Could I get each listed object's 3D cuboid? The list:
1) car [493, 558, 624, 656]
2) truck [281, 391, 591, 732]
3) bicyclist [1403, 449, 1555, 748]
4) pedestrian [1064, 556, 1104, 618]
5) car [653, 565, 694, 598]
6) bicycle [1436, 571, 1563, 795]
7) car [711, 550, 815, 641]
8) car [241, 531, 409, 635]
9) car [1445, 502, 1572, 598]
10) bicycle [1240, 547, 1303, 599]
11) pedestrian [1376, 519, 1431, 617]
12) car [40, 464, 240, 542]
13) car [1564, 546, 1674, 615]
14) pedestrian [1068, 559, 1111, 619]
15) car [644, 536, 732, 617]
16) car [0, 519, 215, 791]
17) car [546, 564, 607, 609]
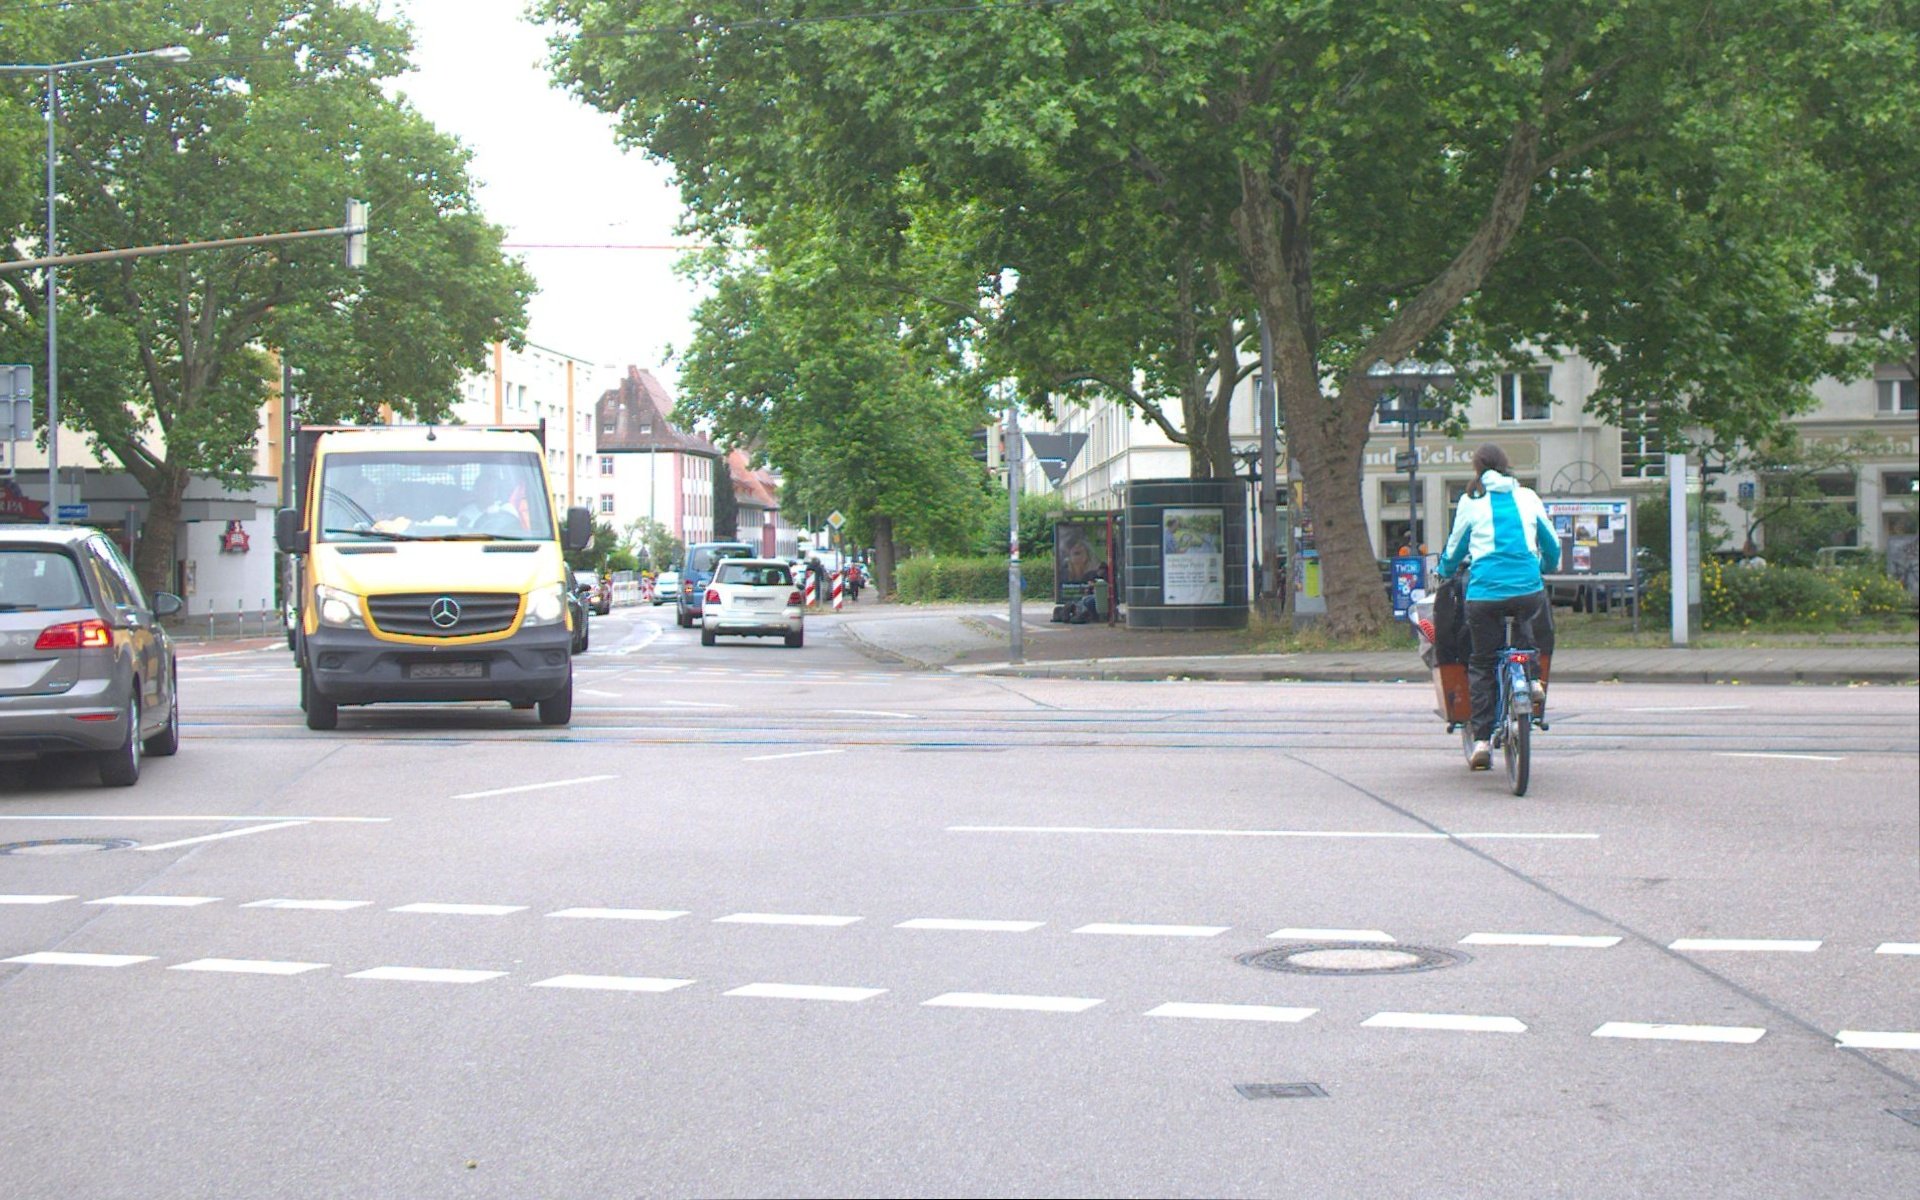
[{"bbox_3d":[-6.183,0.074,53.280,1.808,1.422,4.318,-1,1,-4],"label":"car"},{"bbox_3d":[-4.282,-0.329,27.362,2.074,2.400,5.464,-2,1,-12],"label":"truck"},{"bbox_3d":[2.707,-0.014,18.009,0.686,1.512,1.058,-1,1,4],"label":"bicyclist"},{"bbox_3d":[2.770,-0.304,76.841,0.817,1.367,0.763,-1,1,-4],"label":"pedestrian"},{"bbox_3d":[-13.298,-0.883,159.783,1.767,1.481,4.001,-1,1,-3],"label":"car"},{"bbox_3d":[2.849,0.406,18.285,0.494,1.094,2.138,-1,1,5],"label":"bicycle"},{"bbox_3d":[-3.643,-0.107,63.288,1.815,1.586,4.001,-1,1,-4],"label":"car"},{"bbox_3d":[-11.694,-0.357,63.652,1.867,1.820,5.225,-1,1,3],"label":"car"},{"bbox_3d":[12.948,-1.174,80.968,2.176,2.193,3.996,-1,1,21],"label":"car"},{"bbox_3d":[7.096,-0.619,78.265,0.779,1.164,2.330,-1,1,22],"label":"bicycle"},{"bbox_3d":[8.029,-0.580,62.295,0.784,1.738,0.925,-1,1,-5],"label":"pedestrian"},{"bbox_3d":[-18.624,-2.172,78.149,3.987,1.700,2.000,0,0,-32],"label":"car"},{"bbox_3d":[15.339,-0.468,79.932,1.798,1.538,3.823,-1,1,22],"label":"car"},{"bbox_3d":[2.845,-0.246,75.788,0.853,1.310,0.763,-1,1,-4],"label":"pedestrian"},{"bbox_3d":[-6.448,-0.580,81.233,1.993,1.842,4.001,-1,1,-5],"label":"car"},{"bbox_3d":[-5.763,0.284,21.308,1.732,1.520,4.001,-1,1,-5],"label":"car"},{"bbox_3d":[-13.110,-0.480,117.606,1.853,1.448,4.168,-1,1,-4],"label":"car"}]
